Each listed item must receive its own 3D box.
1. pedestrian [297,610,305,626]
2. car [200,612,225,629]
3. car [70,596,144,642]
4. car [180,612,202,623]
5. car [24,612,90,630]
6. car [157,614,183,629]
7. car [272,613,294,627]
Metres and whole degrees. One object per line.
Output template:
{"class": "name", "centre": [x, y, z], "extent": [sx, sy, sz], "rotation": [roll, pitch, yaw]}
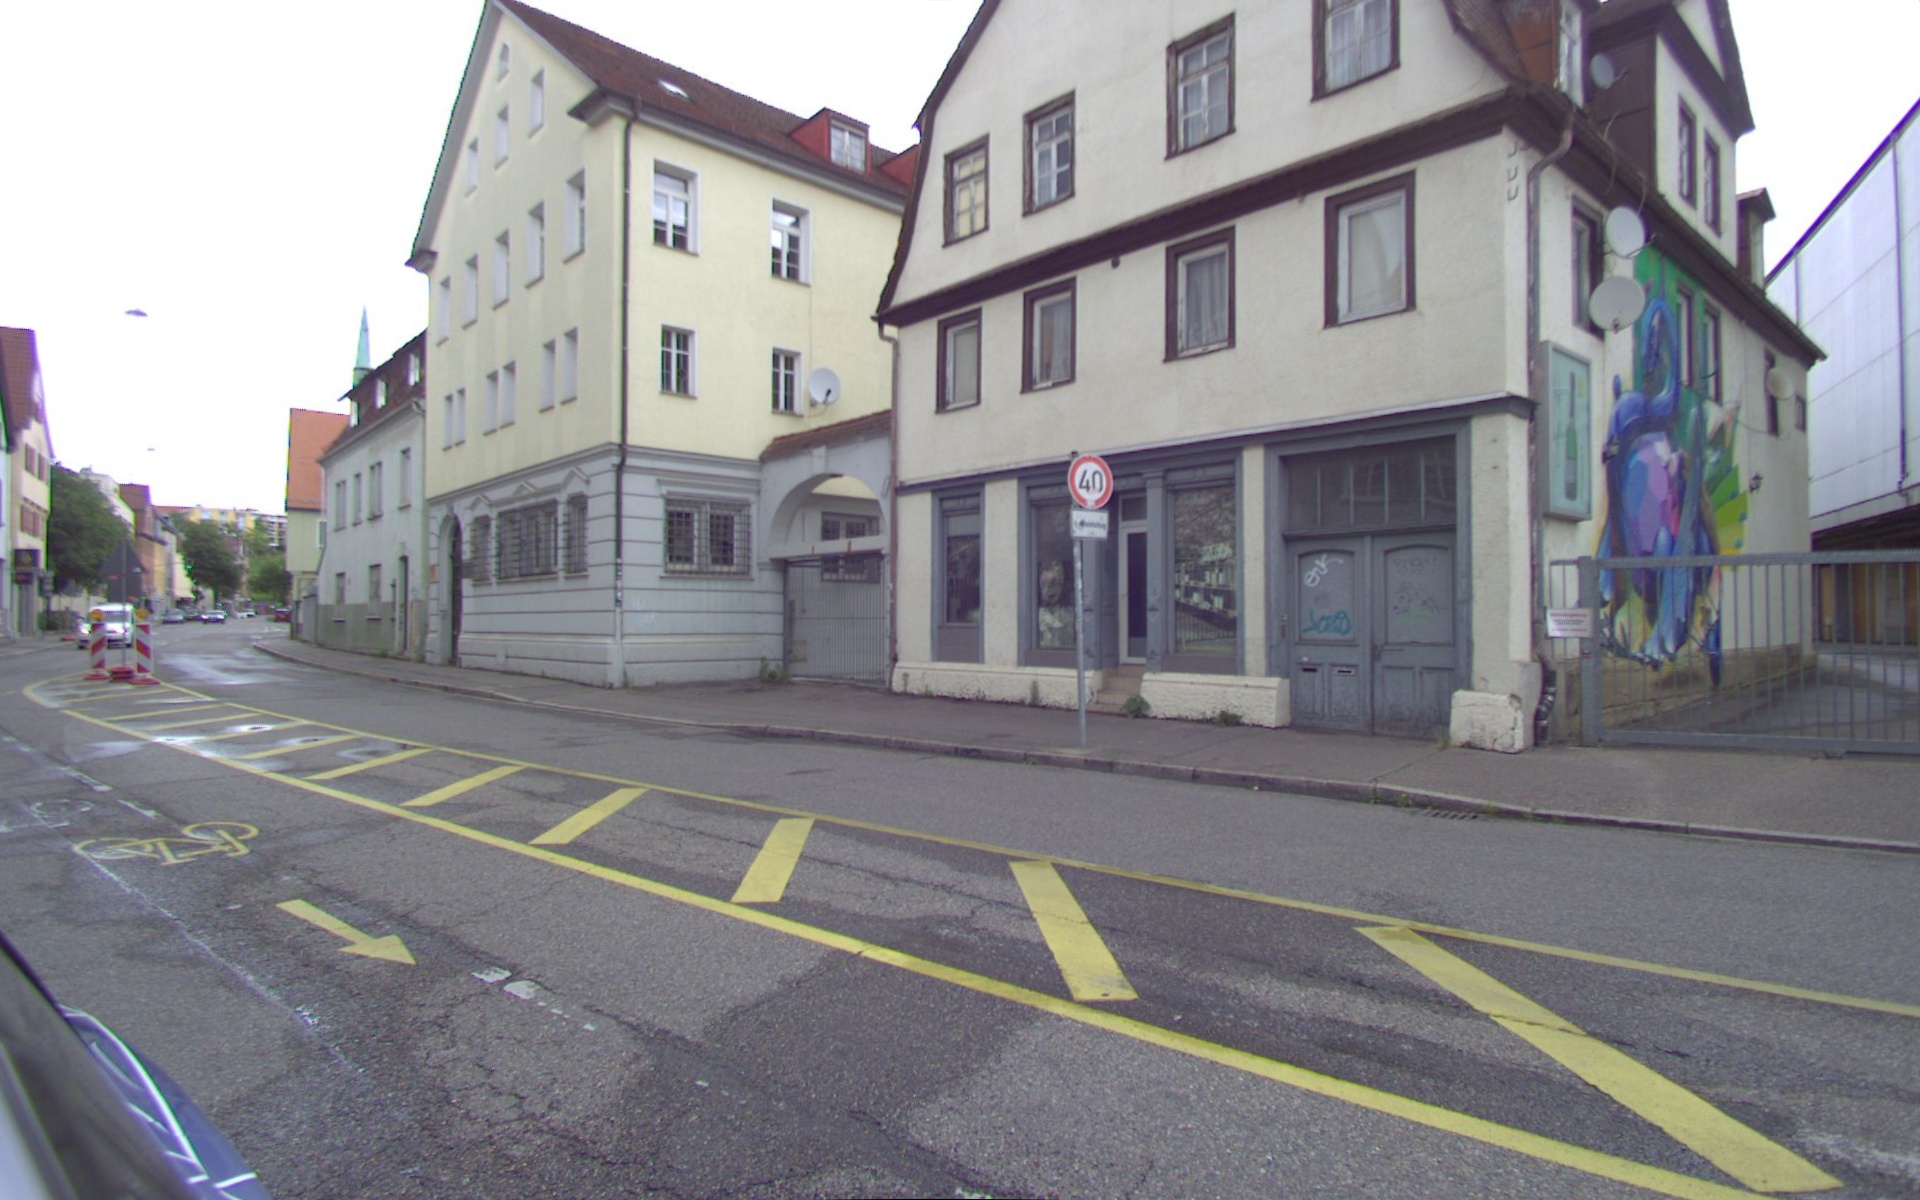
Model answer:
{"class": "pedestrian", "centre": [-85.149, 2.348, 130.717], "extent": [0.823, 2.029, 0.847], "rotation": [1, -2, -36]}
{"class": "car", "centre": [-79.259, 2.185, 107.277], "extent": [1.967, 1.691, 4.010], "rotation": [0, 0, -34]}
{"class": "car", "centre": [-35.665, 0.767, 42.418], "extent": [1.967, 1.800, 4.478], "rotation": [2, -1, -36]}
{"class": "car", "centre": [-96.631, 2.192, 127.162], "extent": [1.792, 1.399, 4.011], "rotation": [2, -2, -32]}
{"class": "car", "centre": [-77.454, 1.777, 86.858], "extent": [3.932, 1.475, 2.006], "rotation": [0, 0, -33]}
{"class": "car", "centre": [-85.003, 2.322, 108.956], "extent": [2.001, 1.567, 4.010], "rotation": [2, -2, -35]}
{"class": "car", "centre": [-85.919, 2.477, 128.386], "extent": [2.178, 1.690, 4.509], "rotation": [2, -2, -36]}
